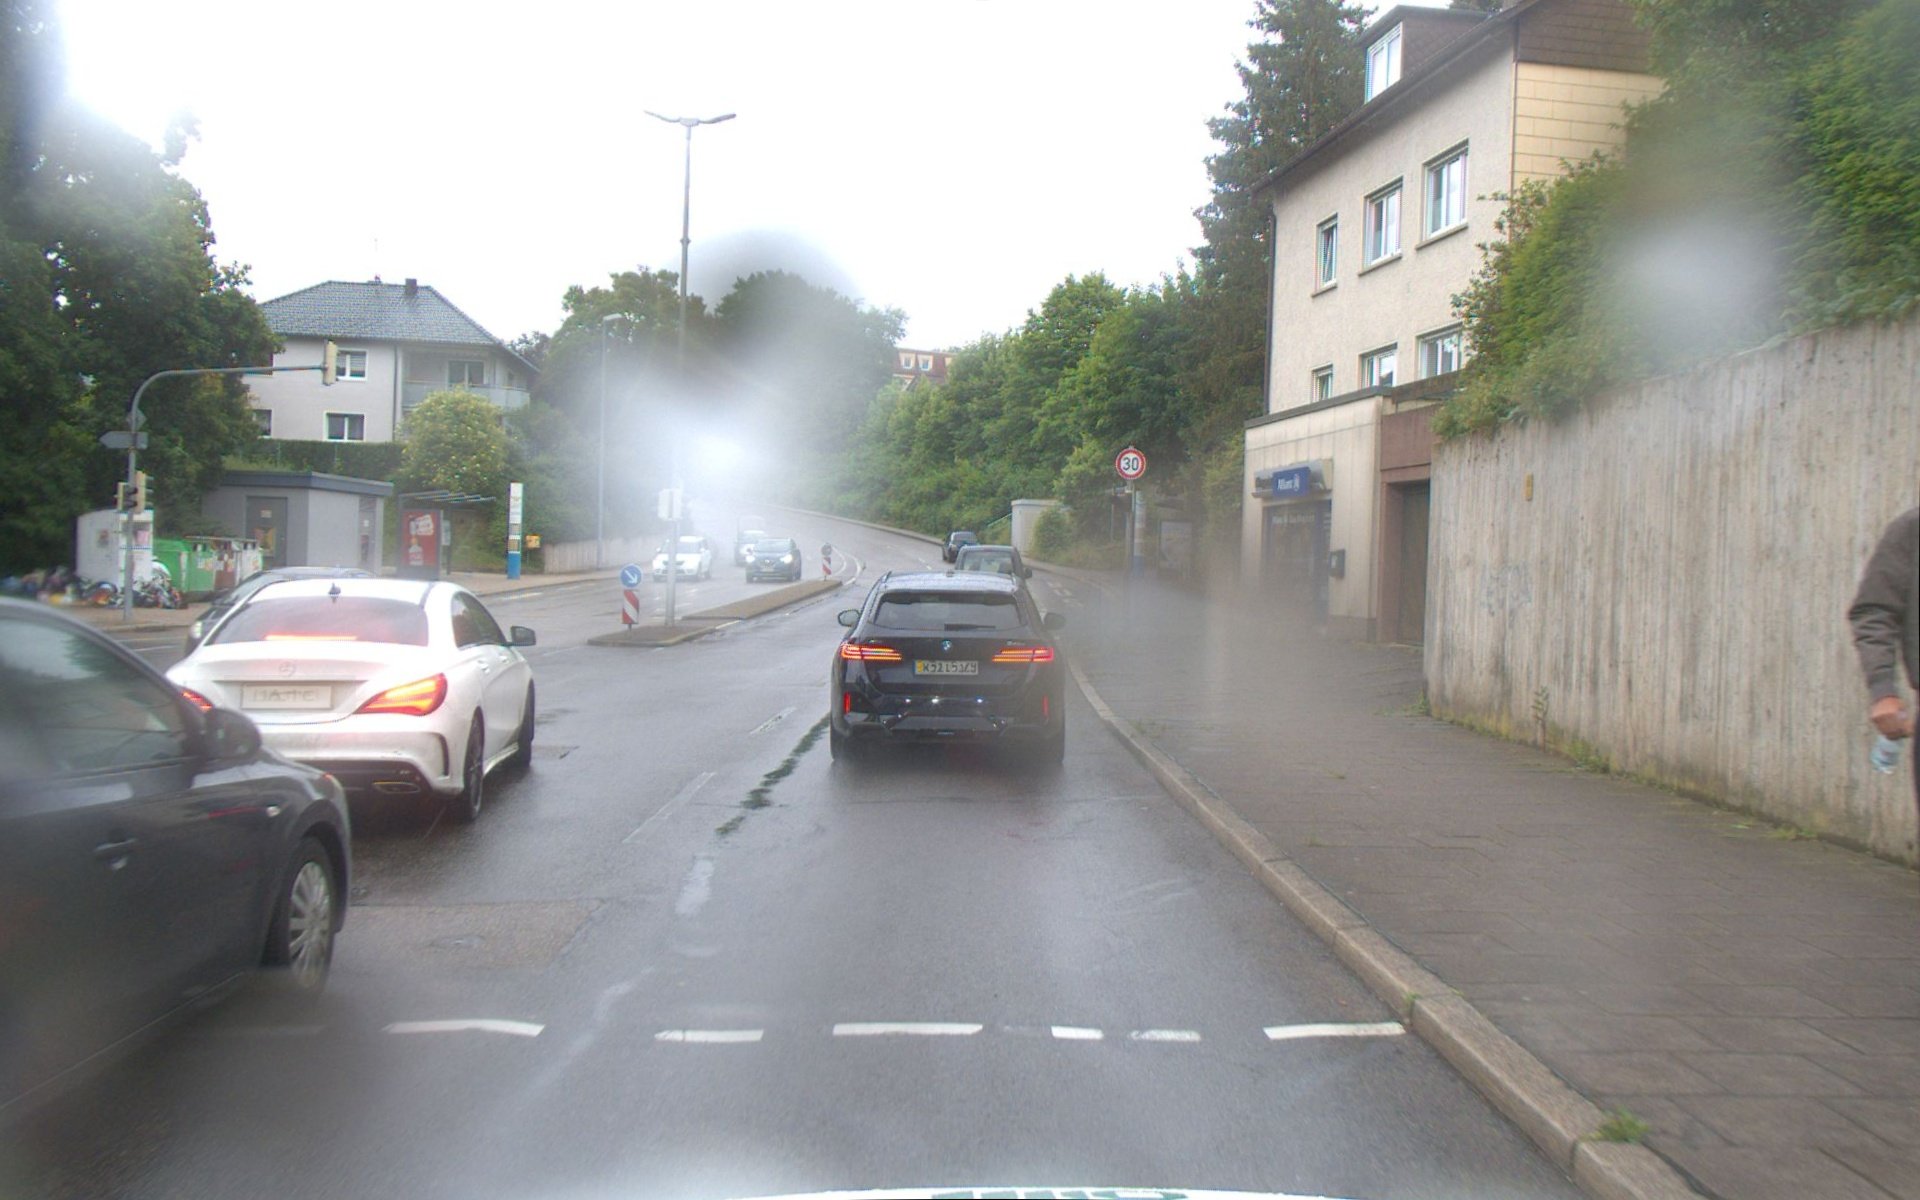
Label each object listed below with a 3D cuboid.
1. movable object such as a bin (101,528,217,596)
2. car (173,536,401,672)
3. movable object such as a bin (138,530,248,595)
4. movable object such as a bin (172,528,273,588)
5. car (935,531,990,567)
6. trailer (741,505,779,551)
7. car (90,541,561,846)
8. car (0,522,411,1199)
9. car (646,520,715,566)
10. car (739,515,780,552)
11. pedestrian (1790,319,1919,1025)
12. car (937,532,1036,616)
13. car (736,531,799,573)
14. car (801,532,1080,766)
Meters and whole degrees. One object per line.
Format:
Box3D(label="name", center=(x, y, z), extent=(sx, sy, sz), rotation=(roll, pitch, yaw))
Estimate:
Box3D(label="movable object such as a bin", center=(-19.680, -0.958, 40.700), extent=(2.014, 1.595, 1.583), rotation=(1, 3, 4))
Box3D(label="car", center=(-8.654, 0.036, 21.647), extent=(1.957, 1.601, 3.990), rotation=(0, 0, -10))
Box3D(label="movable object such as a bin", center=(-19.593, -0.977, 42.298), extent=(2.014, 1.595, 1.583), rotation=(1, 3, 4))
Box3D(label="movable object such as a bin", center=(-19.490, -1.126, 43.763), extent=(2.014, 1.540, 1.345), rotation=(1, 3, 4))
Box3D(label="car", center=(0.104, -2.534, 81.807), extent=(1.819, 1.690, 3.988), rotation=(1, 2, -13))
Box3D(label="trailer", center=(-10.116, -3.609, 83.512), extent=(1.860, 2.216, 4.029), rotation=(0, 2, -8))
Box3D(label="car", center=(-3.822, 0.451, 10.870), extent=(1.872, 1.555, 4.643), rotation=(1, 1, -8))
Box3D(label="car", center=(-2.941, 0.571, 4.199), extent=(1.798, 1.513, 4.058), rotation=(1, 1, -1))
Box3D(label="car", center=(-10.760, -2.173, 63.896), extent=(1.785, 1.685, 4.468), rotation=(0, 1, 2))
Box3D(label="car", center=(-9.605, -3.209, 79.337), extent=(1.863, 1.712, 4.474), rotation=(0, 3, -7))
Box3D(label="pedestrian", center=(3.178, 0.207, 5.148), extent=(0.781, 2.049, 0.734), rotation=(1, 0, -1))
Box3D(label="car", center=(0.541, -0.584, 37.168), extent=(1.954, 1.779, 3.998), rotation=(0, 1, -3))
Box3D(label="car", center=(-7.348, -1.827, 63.448), extent=(1.803, 1.579, 4.385), rotation=(0, 1, 1))
Box3D(label="car", center=(-0.233, 0.366, 14.145), extent=(1.954, 1.614, 4.660), rotation=(2, 0, -3))
